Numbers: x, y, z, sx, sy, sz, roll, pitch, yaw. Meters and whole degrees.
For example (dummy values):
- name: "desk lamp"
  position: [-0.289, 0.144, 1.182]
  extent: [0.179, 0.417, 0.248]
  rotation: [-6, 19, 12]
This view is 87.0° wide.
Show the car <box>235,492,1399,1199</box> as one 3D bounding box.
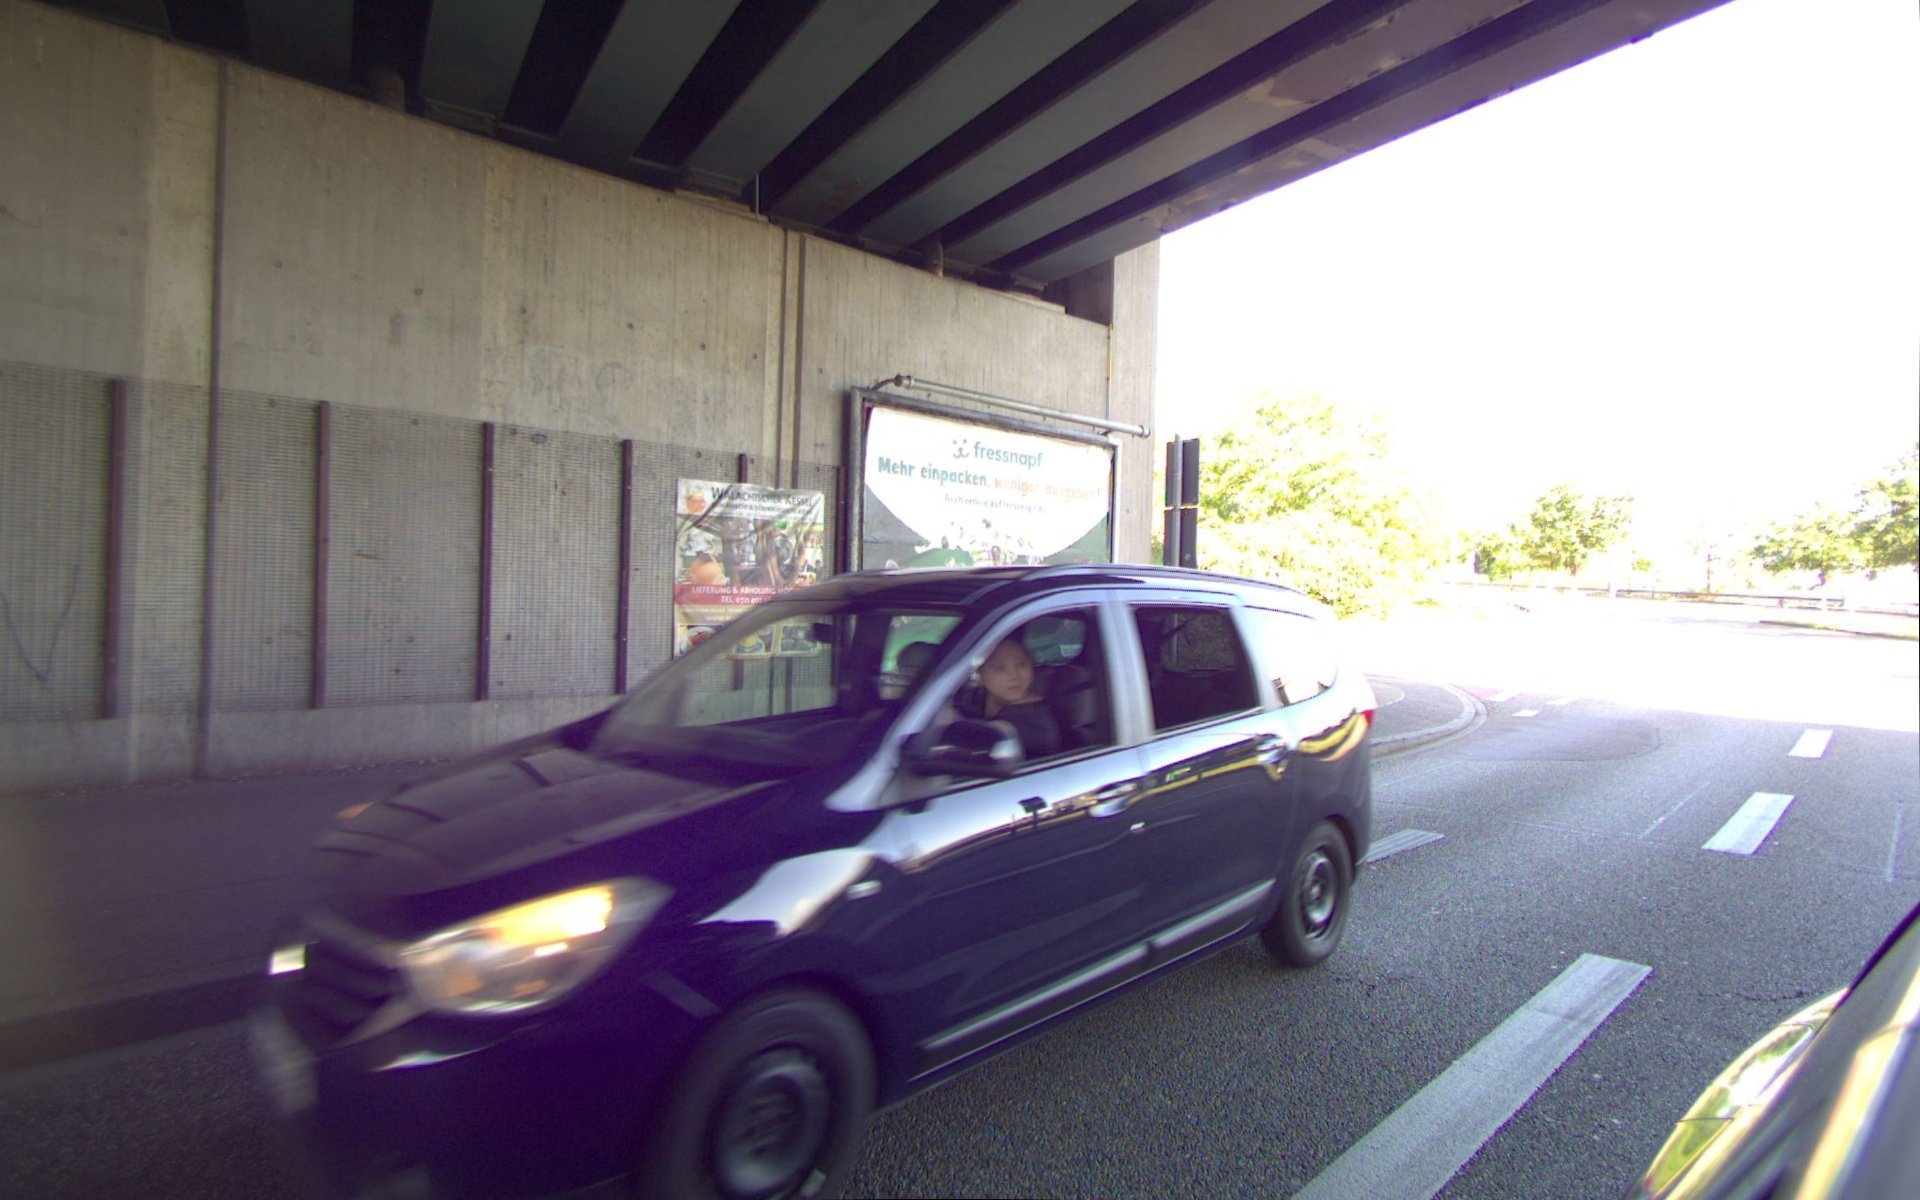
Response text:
- name: "car"
  position: [-0.092, 0.642, 3.771]
  extent: [4.037, 1.621, 1.776]
  rotation: [1, -1, -44]
